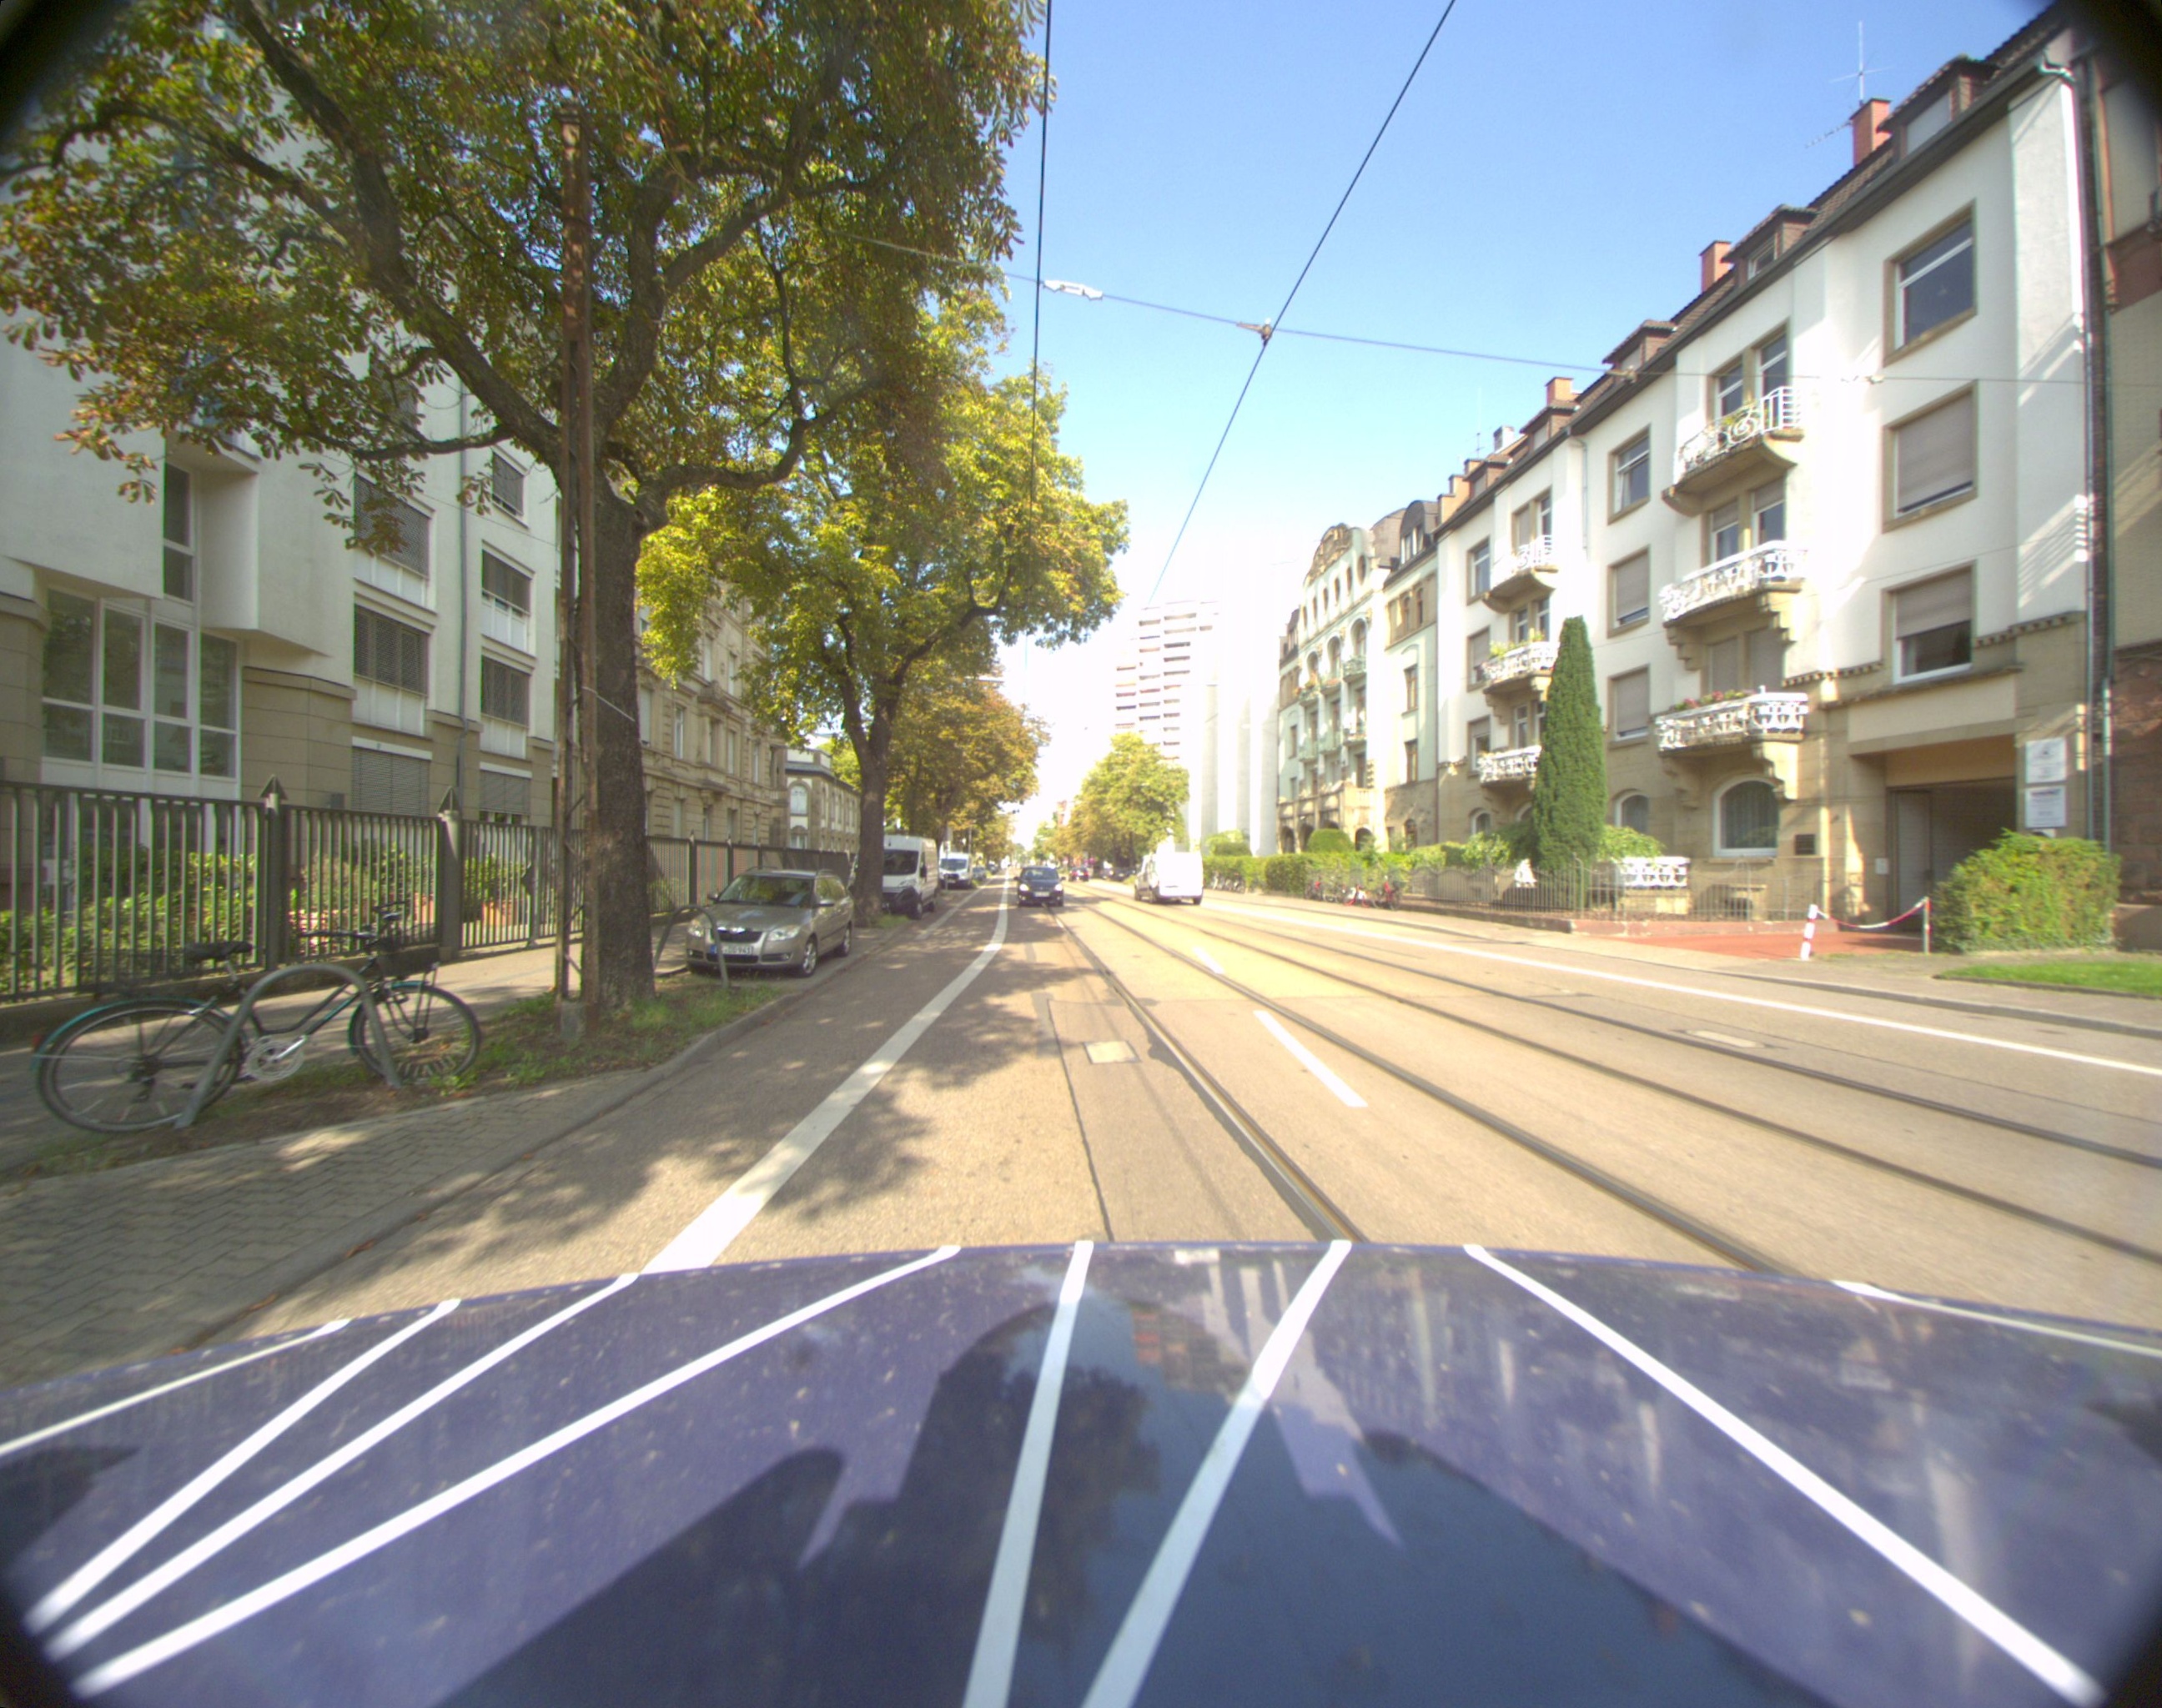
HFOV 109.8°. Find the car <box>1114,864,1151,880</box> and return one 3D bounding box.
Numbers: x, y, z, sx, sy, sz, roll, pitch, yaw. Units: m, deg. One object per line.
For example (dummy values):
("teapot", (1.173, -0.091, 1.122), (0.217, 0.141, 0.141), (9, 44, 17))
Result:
("car", (5.097, 1.743, 74.723), (1.767, 1.518, 4.009), (0, -1, 36))

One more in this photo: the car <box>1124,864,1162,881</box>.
("car", (5.916, 1.743, 71.932), (1.767, 1.518, 4.009), (0, -1, 36))

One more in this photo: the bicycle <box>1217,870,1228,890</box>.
("bicycle", (8.150, 1.493, 43.814), (0.425, 1.081, 1.677), (0, 0, 4))

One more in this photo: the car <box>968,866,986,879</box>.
("car", (-10.738, 1.905, 78.757), (1.758, 1.349, 3.786), (0, -1, -6))

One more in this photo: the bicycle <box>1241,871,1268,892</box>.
("bicycle", (9.113, 1.452, 39.974), (1.398, 1.081, 0.425), (1, 0, -23))

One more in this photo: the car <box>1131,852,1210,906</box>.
("car", (3.513, 0.965, 30.843), (2.000, 2.001, 4.856), (0, -1, -8))

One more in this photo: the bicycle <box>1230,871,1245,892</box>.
("bicycle", (8.407, 1.490, 40.920), (0.425, 1.081, 1.676), (0, 0, -1))

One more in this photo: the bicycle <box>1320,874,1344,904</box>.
("bicycle", (9.632, 1.330, 29.202), (0.371, 1.081, 1.354), (0, 0, -6))

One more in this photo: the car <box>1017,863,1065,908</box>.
("car", (-1.574, 1.121, 28.759), (1.611, 1.515, 4.355), (-1, 0, -5))

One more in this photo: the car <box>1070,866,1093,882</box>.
("car", (0.002, 1.887, 73.559), (1.702, 1.394, 4.643), (-1, 0, -6))

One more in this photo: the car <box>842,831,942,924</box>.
("car", (-5.677, 0.684, 23.683), (2.052, 2.483, 6.226), (1, -1, -5))

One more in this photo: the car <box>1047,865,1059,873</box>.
("car", (-4.805, 2.580, 128.313), (1.758, 1.349, 3.786), (0, -1, -6))

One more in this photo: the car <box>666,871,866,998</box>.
("car", (-4.676, 1.094, 11.991), (1.611, 1.515, 4.355), (3, -1, -5))

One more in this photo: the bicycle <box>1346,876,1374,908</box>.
("bicycle", (9.706, 1.307, 26.440), (0.371, 1.081, 1.354), (0, 0, -6))

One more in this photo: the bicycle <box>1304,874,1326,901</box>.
("bicycle", (9.526, 1.357, 30.969), (0.371, 1.081, 1.354), (0, 0, -6))

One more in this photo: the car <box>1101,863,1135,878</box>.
("car", (4.076, 1.796, 83.515), (1.767, 1.518, 4.009), (0, -1, 36))

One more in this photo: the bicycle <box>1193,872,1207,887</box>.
("bicycle", (7.681, 1.637, 49.135), (0.426, 0.972, 1.769), (0, 0, -6))

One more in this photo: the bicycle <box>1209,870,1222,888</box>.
("bicycle", (8.094, 1.510, 45.827), (0.425, 1.081, 1.676), (0, 0, -3))

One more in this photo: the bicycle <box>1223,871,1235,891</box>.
("bicycle", (8.372, 1.497, 43.021), (0.425, 1.081, 1.677), (0, 0, 4))

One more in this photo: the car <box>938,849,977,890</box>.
("car", (-8.115, 1.021, 50.542), (1.999, 2.526, 5.866), (2, -1, -4))

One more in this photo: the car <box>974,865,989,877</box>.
("car", (-12.030, 2.059, 92.287), (1.758, 1.349, 3.786), (0, -1, -6))

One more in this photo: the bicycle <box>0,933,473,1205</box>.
("bicycle", (-4.665, 1.087, 4.275), (1.847, 1.160, 0.503), (3, 3, -45))

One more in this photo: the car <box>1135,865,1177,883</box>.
("car", (6.383, 1.662, 64.482), (1.767, 1.518, 4.009), (0, -1, 36))

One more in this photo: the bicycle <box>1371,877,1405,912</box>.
("bicycle", (9.950, 1.297, 24.681), (0.371, 1.081, 1.487), (0, 0, -6))
